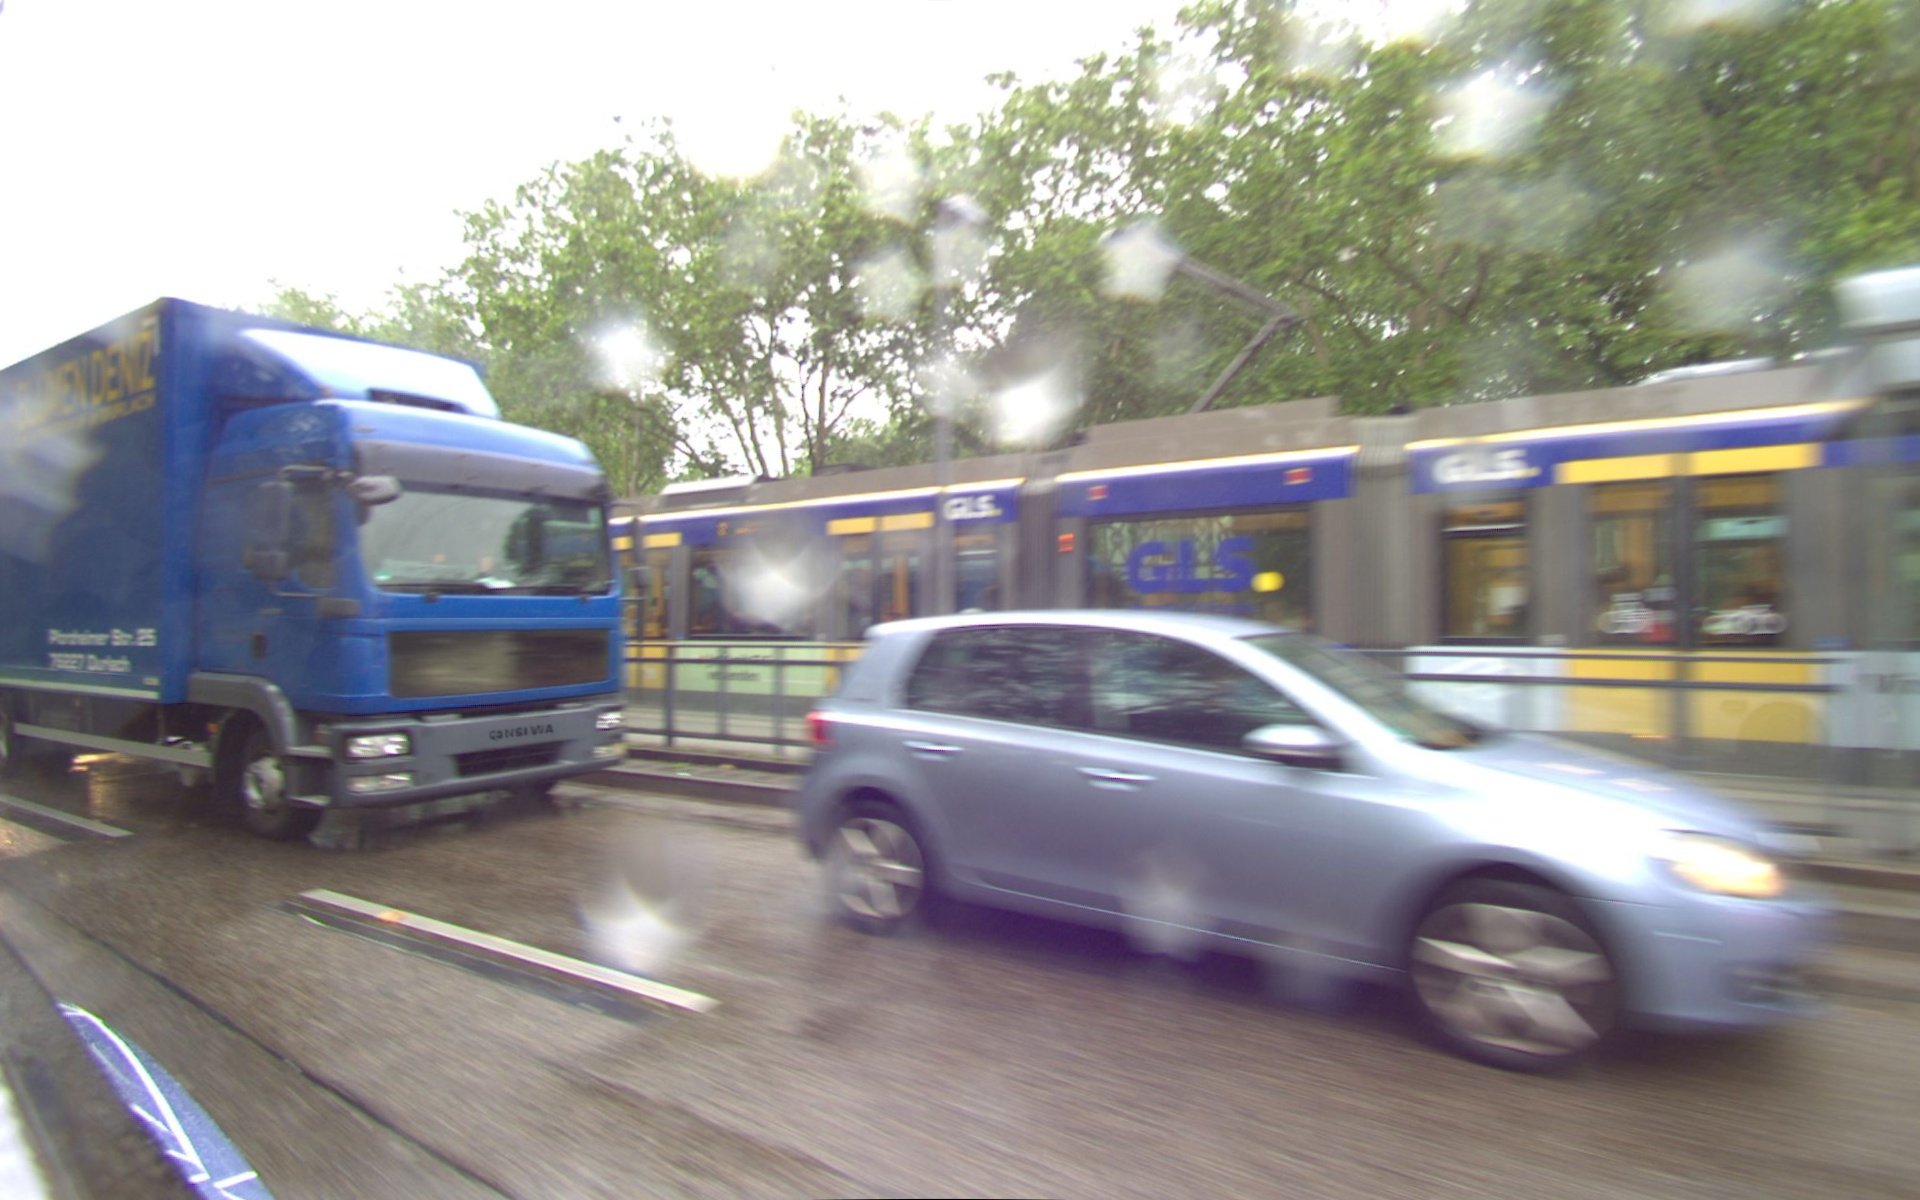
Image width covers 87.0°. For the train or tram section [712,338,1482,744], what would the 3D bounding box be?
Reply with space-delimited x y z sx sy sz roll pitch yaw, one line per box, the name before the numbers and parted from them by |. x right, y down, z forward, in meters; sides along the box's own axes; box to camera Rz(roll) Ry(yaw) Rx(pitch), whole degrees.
train or tram section | 1.172 -0.308 11.764 8.405 3.311 2.955 -2 -3 33

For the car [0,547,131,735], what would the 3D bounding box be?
car | -15.487 0.563 15.797 6.098 2.576 2.310 0 0 34

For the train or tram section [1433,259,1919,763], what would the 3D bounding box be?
train or tram section | 8.417 -0.592 6.998 8.956 3.311 2.955 -2 -3 33

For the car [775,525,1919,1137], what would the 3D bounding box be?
car | 1.366 0.680 4.494 4.121 1.549 1.977 -2 -3 34

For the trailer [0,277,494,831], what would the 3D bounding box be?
trailer | -8.197 -0.257 10.339 7.612 3.929 2.570 -1 -1 33

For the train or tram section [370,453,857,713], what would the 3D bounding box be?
train or tram section | -5.832 -0.040 16.354 8.335 3.311 2.937 -2 -3 33

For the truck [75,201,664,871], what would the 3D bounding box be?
truck | -4.745 -0.341 8.111 3.988 3.934 2.561 -2 -1 33
